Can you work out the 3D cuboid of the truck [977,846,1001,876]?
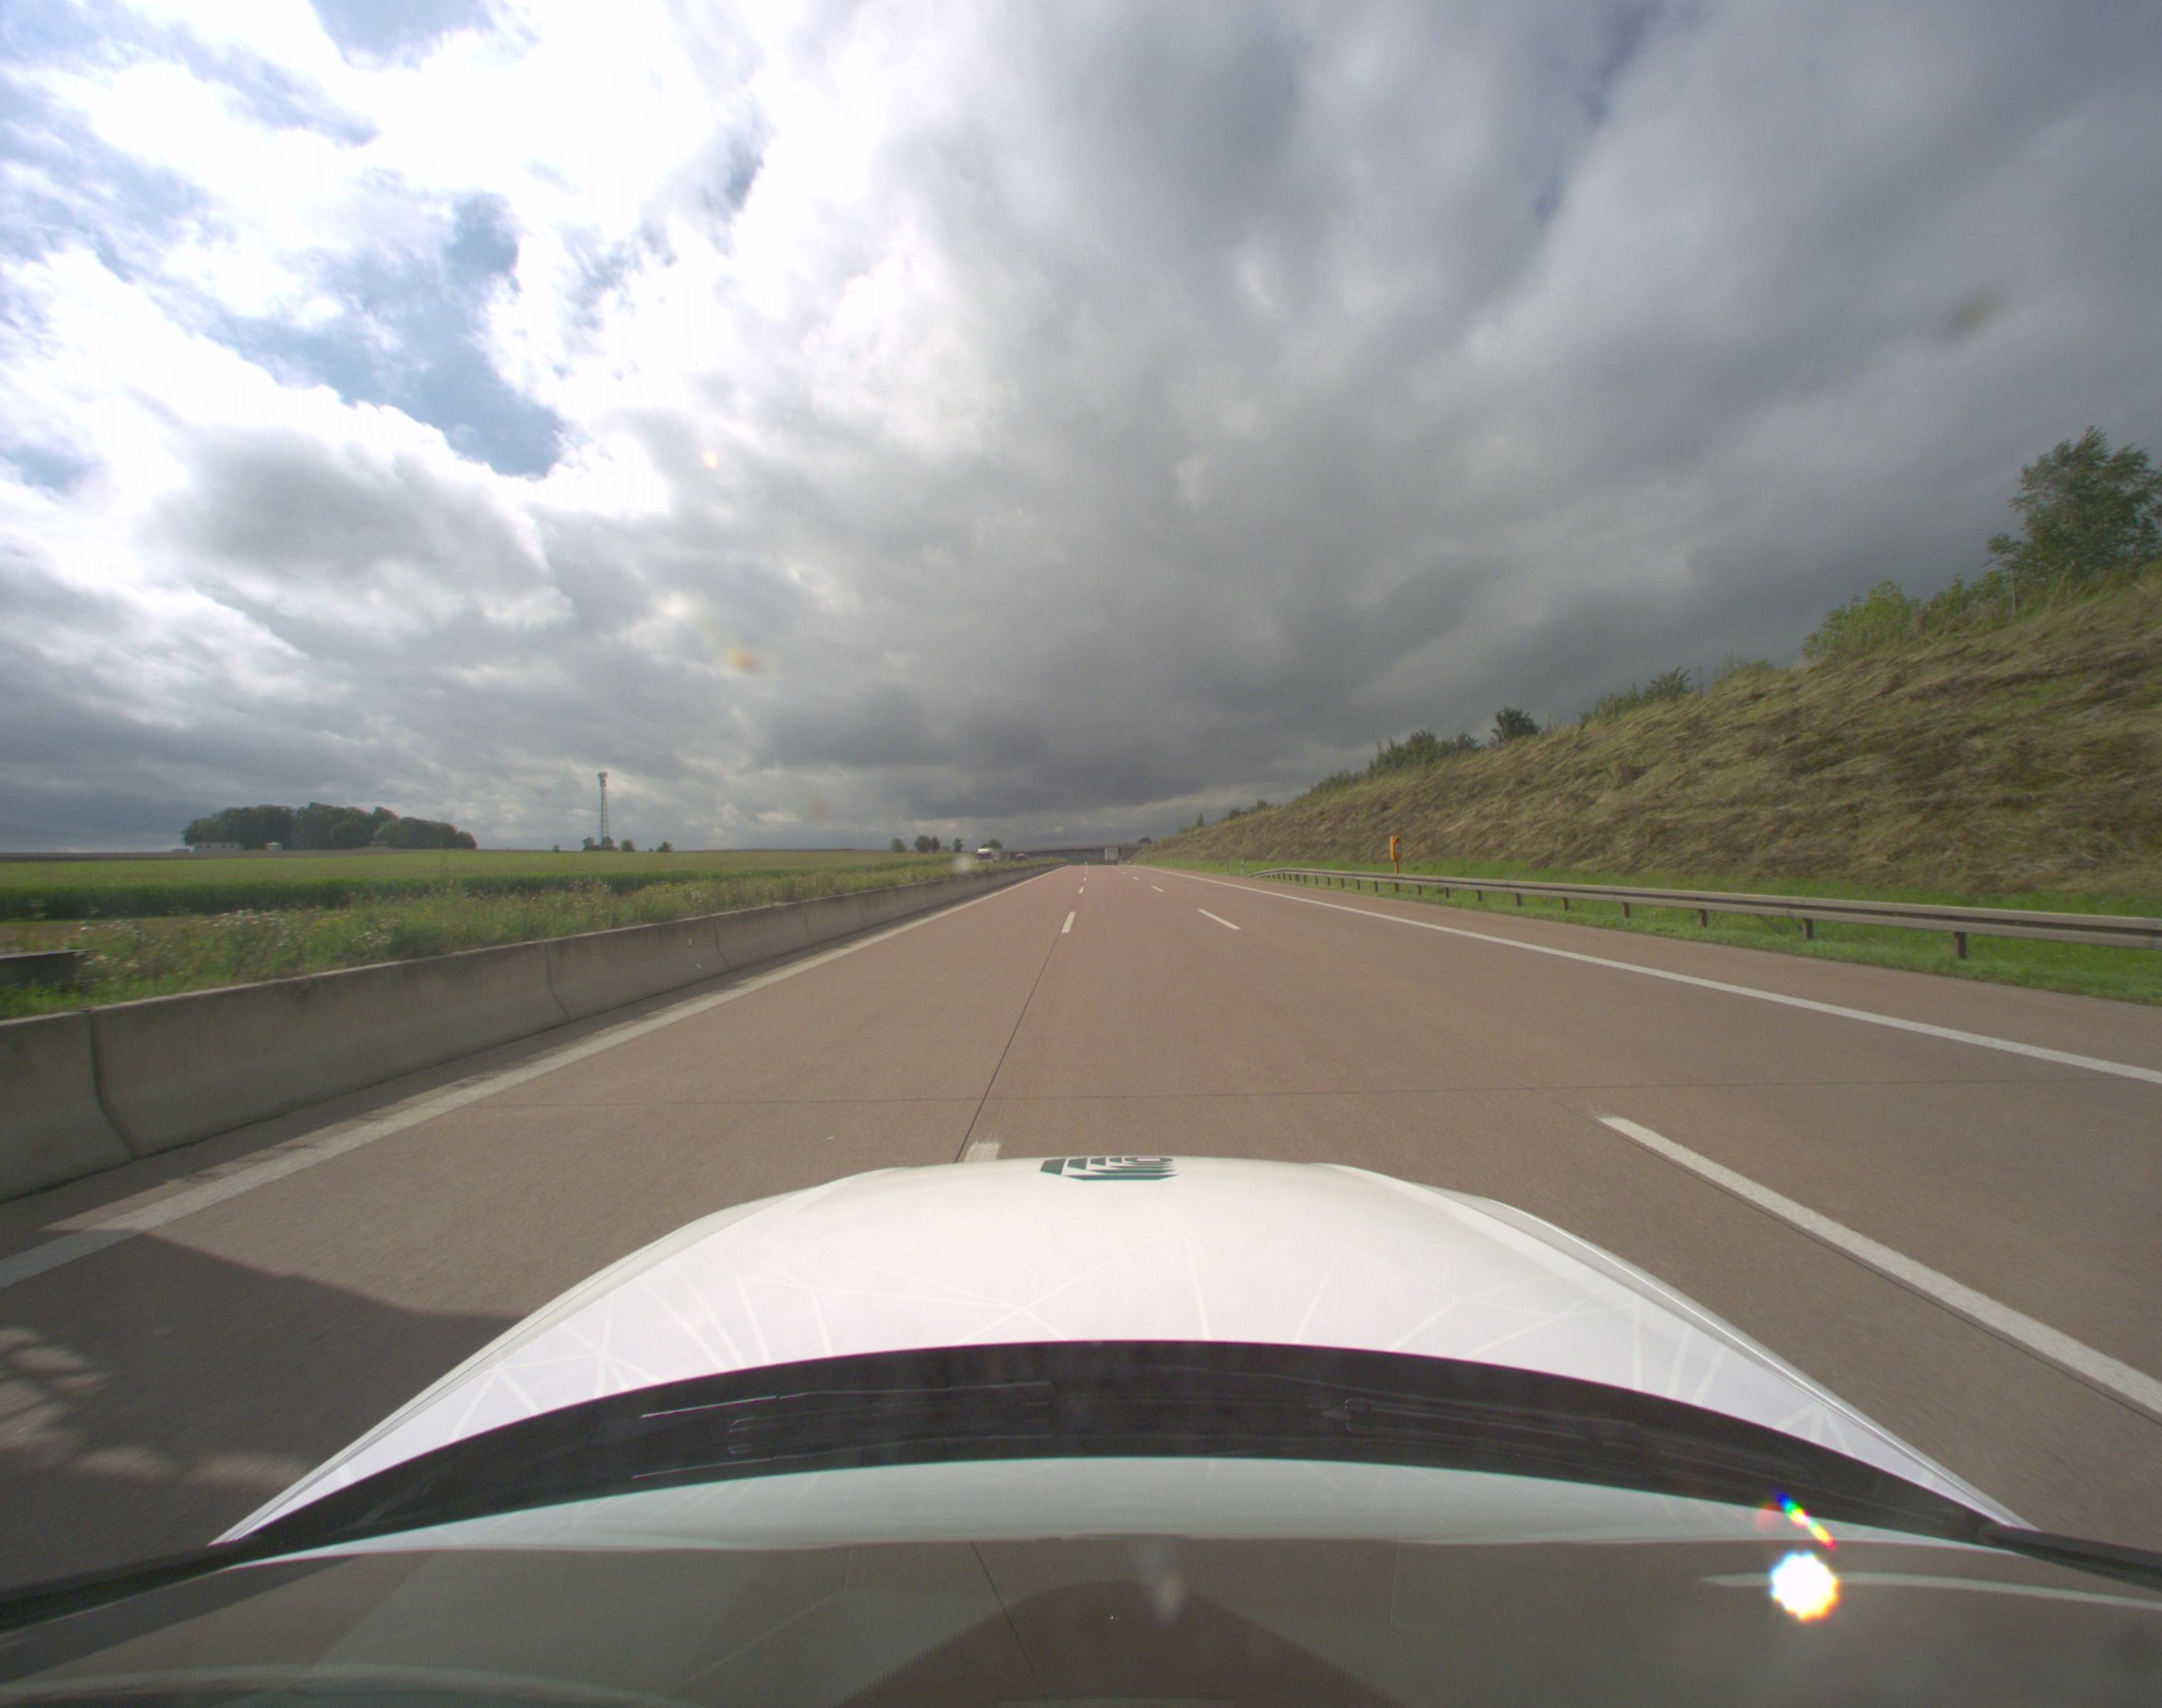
[{"bbox_3d":[-16.161,1.175,143.437,2.981,5.065,10.982,0,0,0],"label":"truck"}]

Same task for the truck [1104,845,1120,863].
[{"bbox_3d":[7.161,0.024,186.833,3.603,3.945,11.180,0,0,2],"label":"truck"}]
